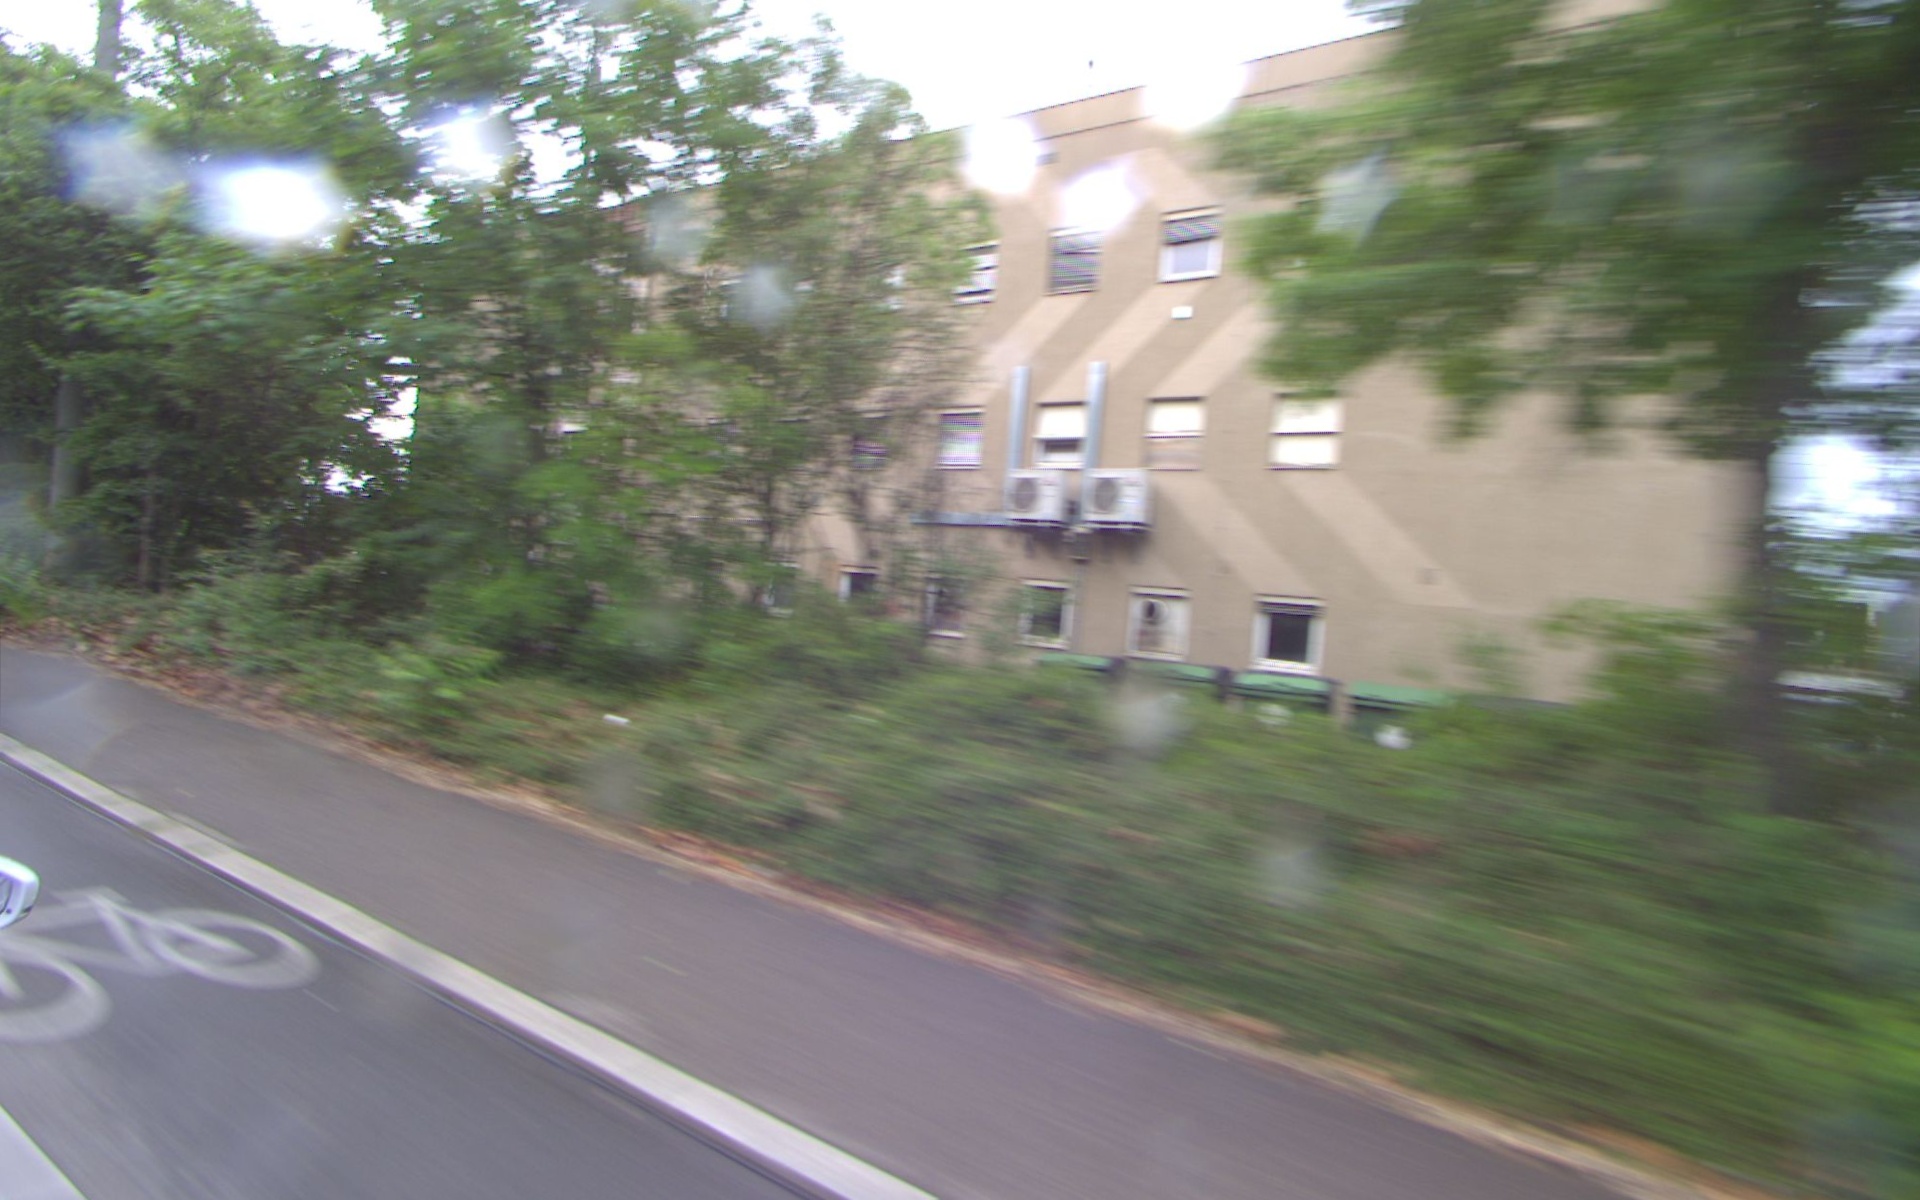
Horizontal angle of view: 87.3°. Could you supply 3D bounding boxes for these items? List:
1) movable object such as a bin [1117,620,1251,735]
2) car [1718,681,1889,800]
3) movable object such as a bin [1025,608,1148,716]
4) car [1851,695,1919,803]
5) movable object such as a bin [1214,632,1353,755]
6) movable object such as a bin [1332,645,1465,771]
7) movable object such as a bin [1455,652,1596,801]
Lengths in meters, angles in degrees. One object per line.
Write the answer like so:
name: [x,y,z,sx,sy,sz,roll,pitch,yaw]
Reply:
movable object such as a bin: [3.306,1.115,14.820,1.408,1.434,1.305,7,1,33]
car: [16.863,2.714,20.319,1.726,1.846,3.804,7,0,28]
movable object such as a bin: [1.974,0.948,15.607,1.335,1.434,1.272,7,1,33]
car: [19.164,2.949,19.546,1.726,1.846,3.993,7,0,28]
movable object such as a bin: [4.507,1.265,13.984,1.396,1.434,1.305,7,1,33]
movable object such as a bin: [5.910,1.413,13.535,1.310,1.434,1.213,7,1,33]
movable object such as a bin: [7.174,1.551,12.746,1.310,1.607,1.213,7,2,33]
